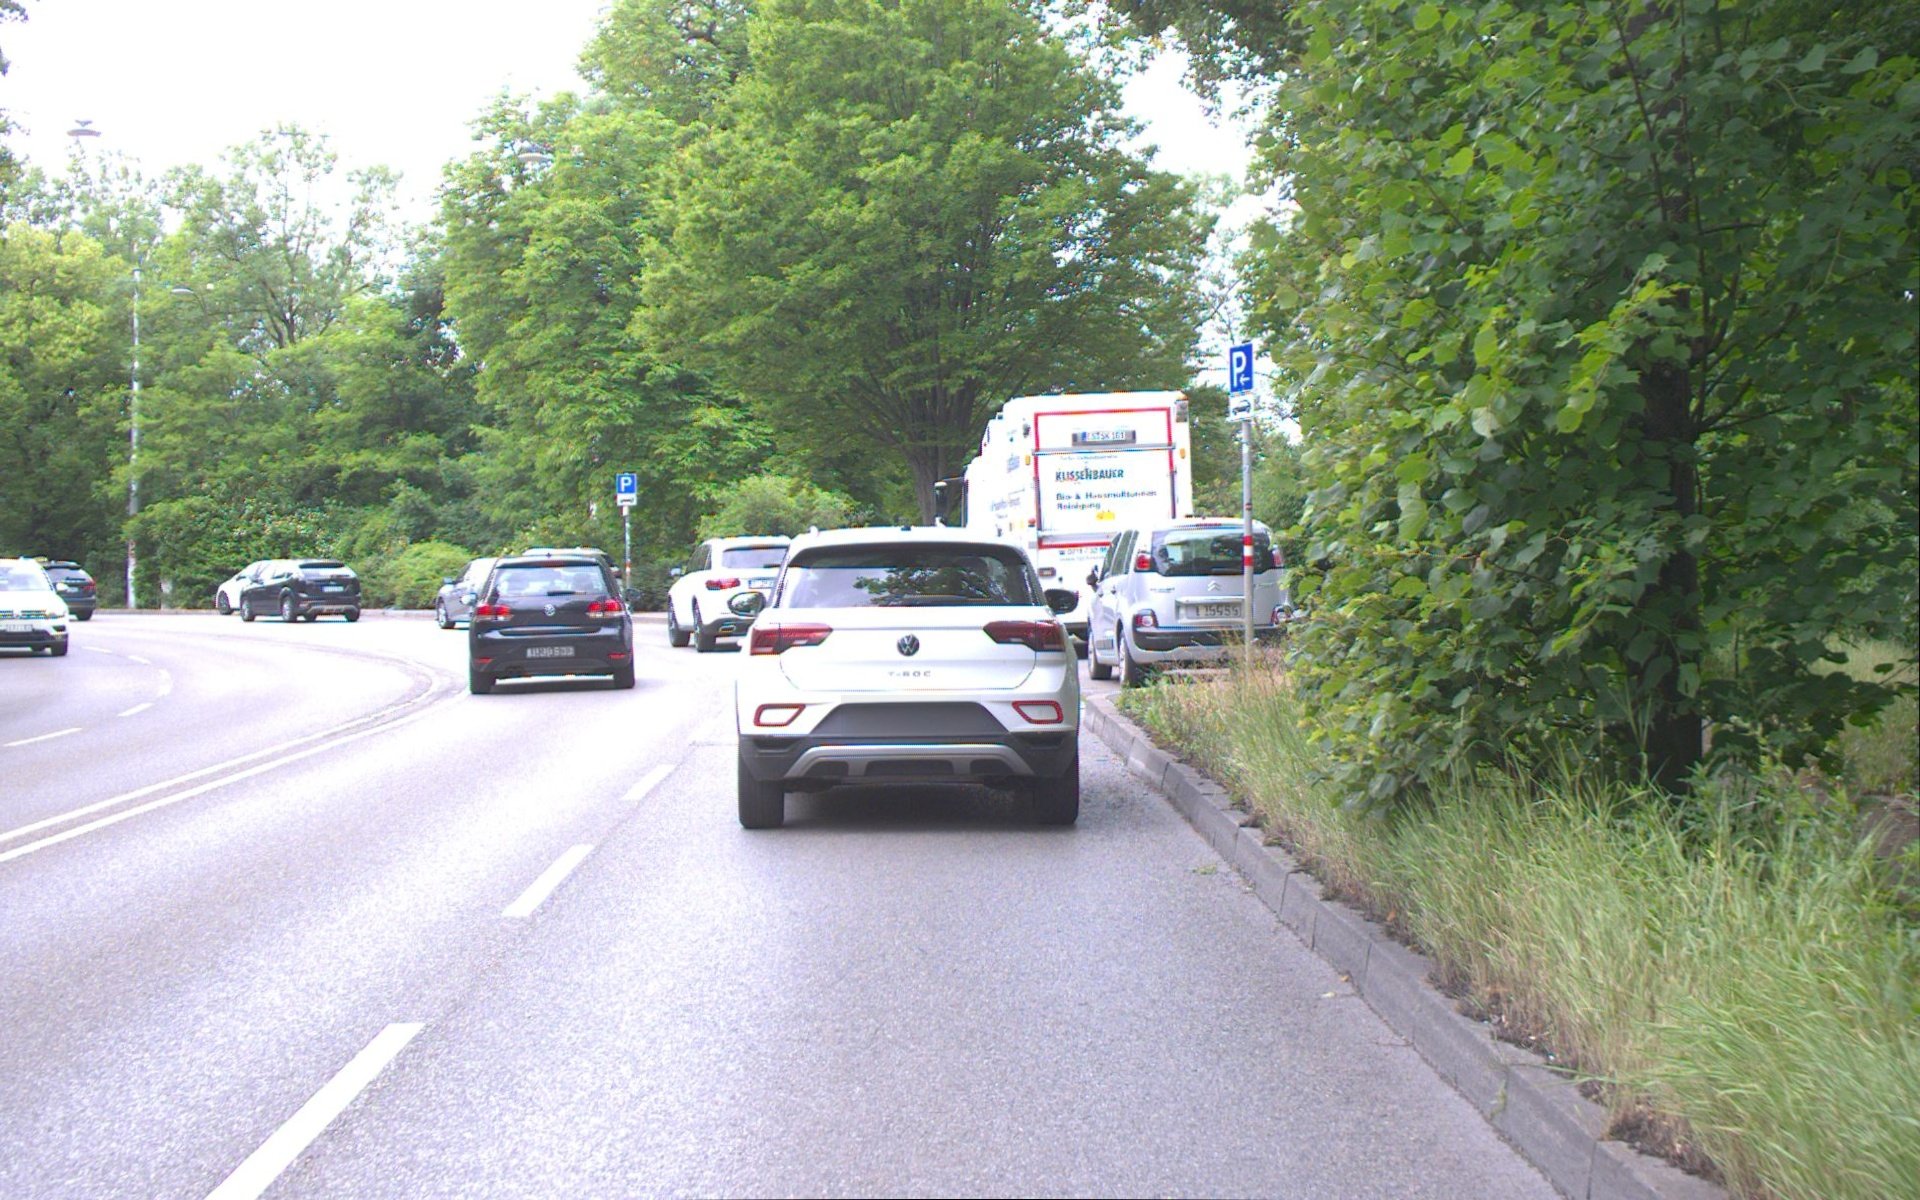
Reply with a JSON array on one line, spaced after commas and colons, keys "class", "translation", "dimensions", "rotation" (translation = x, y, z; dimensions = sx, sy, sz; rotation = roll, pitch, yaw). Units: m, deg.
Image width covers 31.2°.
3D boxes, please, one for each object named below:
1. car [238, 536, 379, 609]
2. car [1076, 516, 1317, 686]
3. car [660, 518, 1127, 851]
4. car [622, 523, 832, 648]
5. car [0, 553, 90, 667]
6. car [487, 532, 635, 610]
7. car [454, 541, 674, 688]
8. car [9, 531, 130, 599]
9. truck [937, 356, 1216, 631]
[{"class": "car", "translation": [-15.248, -0.656, 80.334], "dimensions": [1.766, 1.601, 4.000], "rotation": [1, 1, -34]}, {"class": "car", "translation": [2.276, -0.009, 34.072], "dimensions": [1.802, 1.519, 4.001], "rotation": [2, 0, -4]}, {"class": "car", "translation": [-0.490, 0.396, 18.889], "dimensions": [2.000, 1.590, 4.001], "rotation": [2, 1, -9]}, {"class": "car", "translation": [-3.478, -0.250, 50.638], "dimensions": [1.851, 1.697, 4.001], "rotation": [-3, 2, -23]}, {"class": "car", "translation": [-16.990, 0.112, 58.809], "dimensions": [4.432, 1.688, 1.858], "rotation": [3, 6, 41]}, {"class": "car", "translation": [-8.939, -0.642, 76.711], "dimensions": [1.758, 1.646, 4.381], "rotation": [-2, 1, -28]}, {"class": "car", "translation": [-4.261, 0.129, 37.539], "dimensions": [1.949, 1.461, 4.000], "rotation": [-2, 1, -1]}, {"class": "car", "translation": [-21.966, -0.861, 84.959], "dimensions": [1.993, 1.586, 4.000], "rotation": [2, 1, -1]}, {"class": "truck", "translation": [1.356, -1.293, 44.227], "dimensions": [2.481, 3.171, 7.230], "rotation": [2, 1, -6]}]
